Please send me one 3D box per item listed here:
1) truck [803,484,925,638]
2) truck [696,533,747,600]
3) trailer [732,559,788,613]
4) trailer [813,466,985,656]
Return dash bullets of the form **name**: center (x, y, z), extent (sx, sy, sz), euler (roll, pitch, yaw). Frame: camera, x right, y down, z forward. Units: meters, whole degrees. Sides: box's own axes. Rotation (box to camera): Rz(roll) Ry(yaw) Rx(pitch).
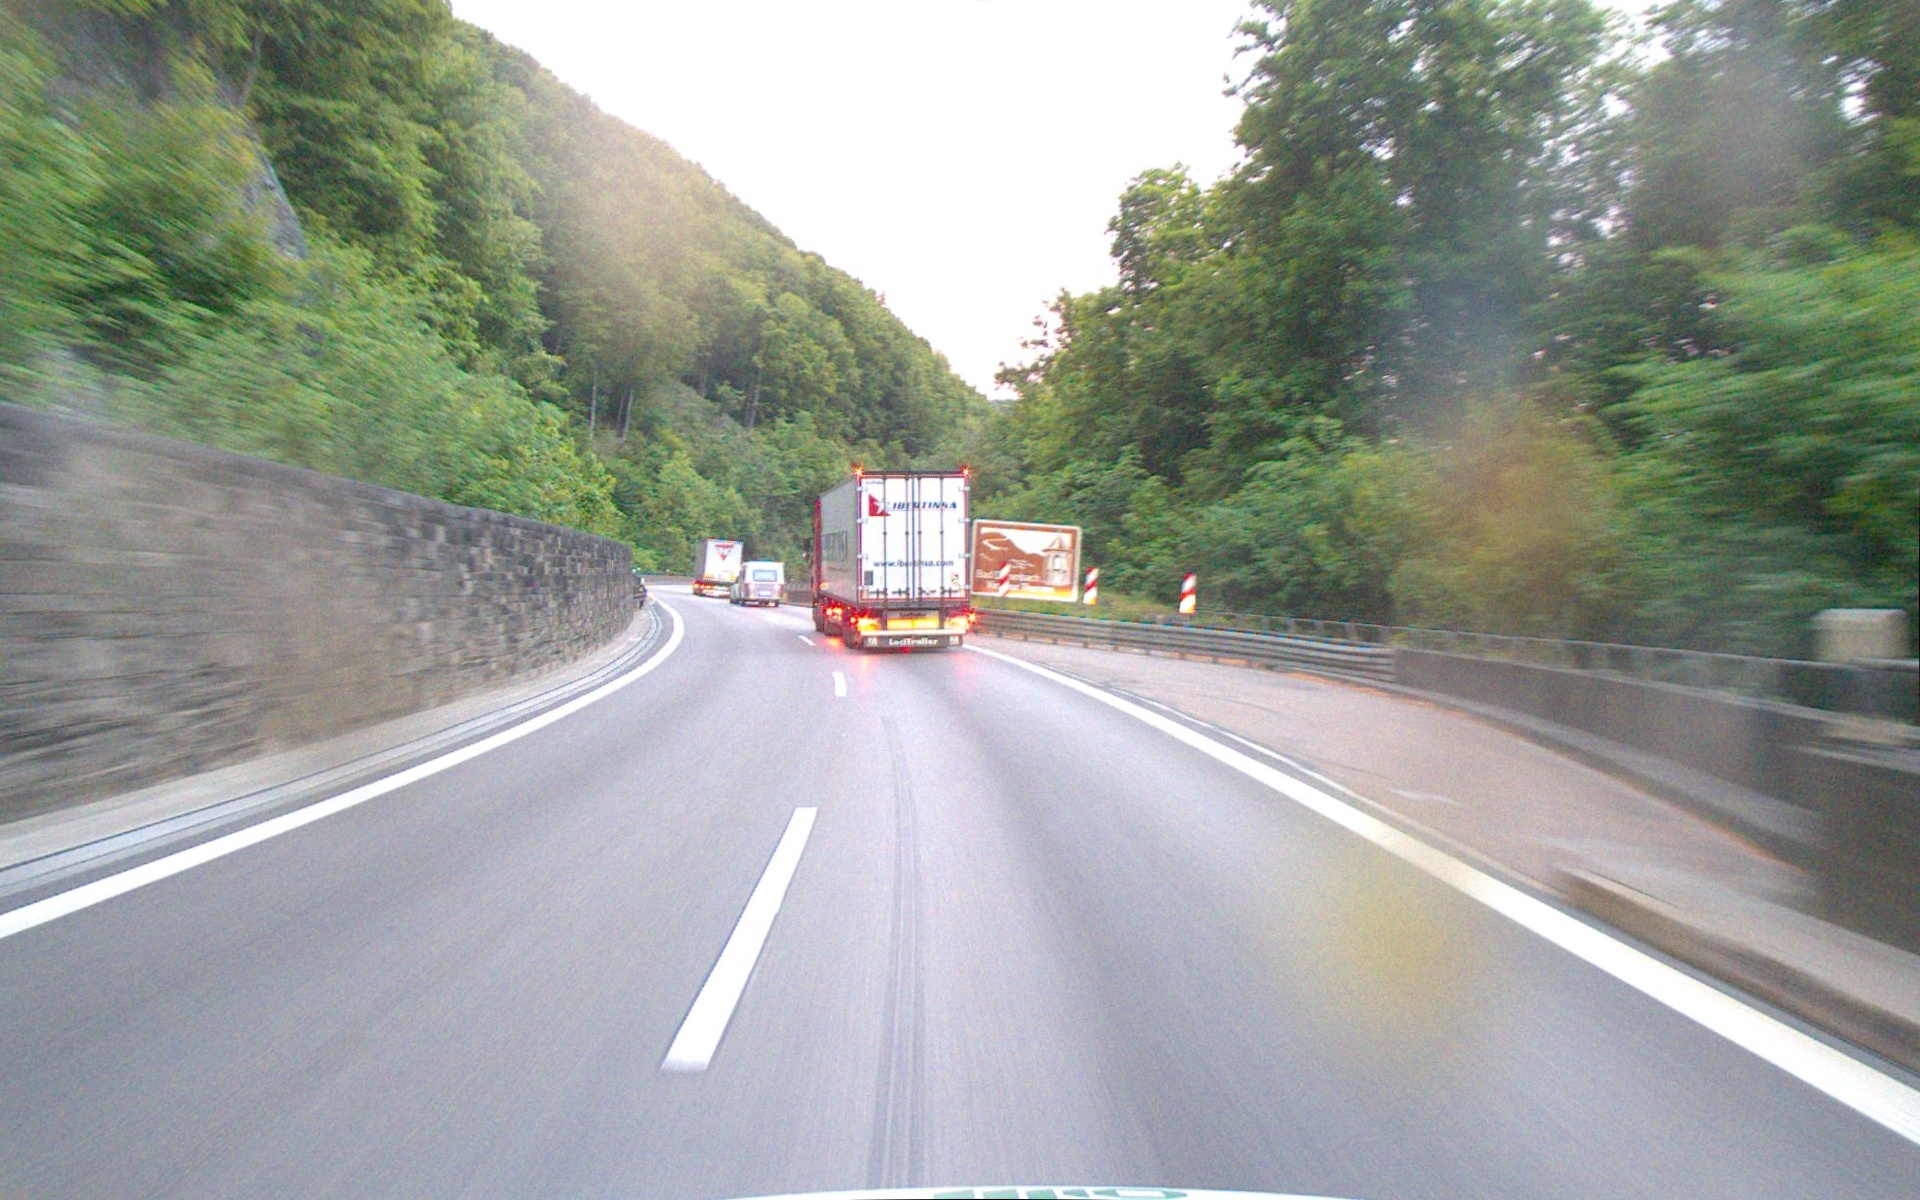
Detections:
- **truck**: center (-2.973, -1.256, 49.382), extent (3.012, 4.215, 6.436), euler (-2, 3, -8)
- **truck**: center (-17.257, -2.270, 120.160), extent (3.233, 4.246, 16.472), euler (2, -1, -8)
- **trailer**: center (-10.480, -0.782, 86.243), extent (2.021, 2.415, 5.918), euler (6, 1, -14)
- **trailer**: center (-1.926, -1.173, 42.728), extent (3.039, 4.038, 14.197), euler (-1, 3, -8)
